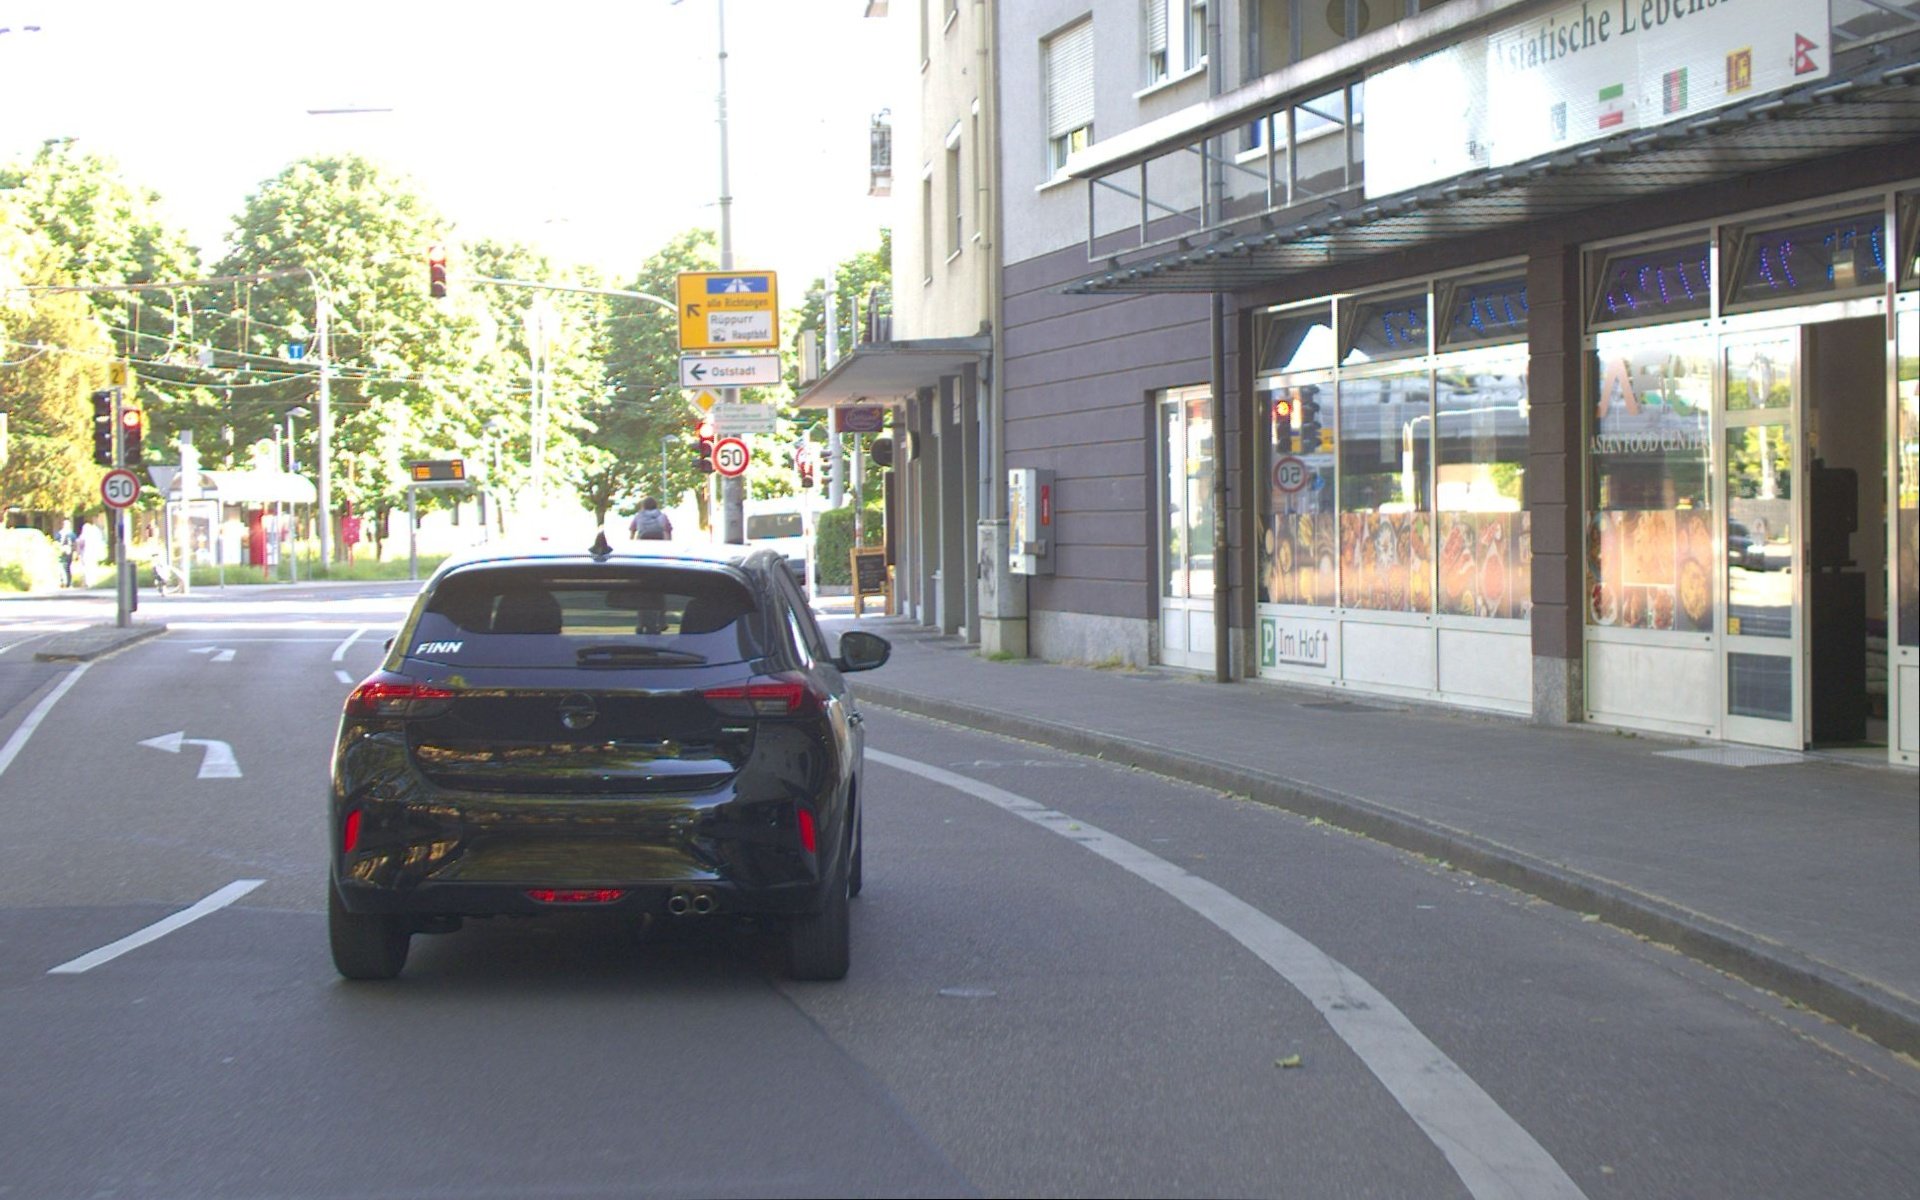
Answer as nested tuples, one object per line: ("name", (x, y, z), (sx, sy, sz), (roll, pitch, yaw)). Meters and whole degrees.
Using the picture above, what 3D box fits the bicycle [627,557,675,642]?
("bicycle", (-4.037, -0.014, 44.993), (0.508, 1.063, 1.564), (-1, 1, -1))

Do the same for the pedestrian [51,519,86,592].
("pedestrian", (-23.507, -1.172, 90.605), (0.658, 1.926, 0.608), (1, 1, 19))

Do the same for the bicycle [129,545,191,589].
("bicycle", (-18.426, -0.775, 79.254), (0.788, 0.988, 2.243), (0, 1, 4))

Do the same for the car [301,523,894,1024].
("car", (-1.194, 0.480, 12.369), (1.781, 1.491, 4.001), (0, 1, -3))

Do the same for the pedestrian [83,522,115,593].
("pedestrian", (-22.714, -1.120, 90.698), (0.616, 1.847, 0.583), (1, 1, 12))

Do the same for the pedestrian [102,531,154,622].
("pedestrian", (-12.627, -0.362, 52.163), (0.653, 1.359, 0.645), (-1, 1, -5))

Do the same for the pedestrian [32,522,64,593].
("pedestrian", (-23.751, -1.110, 89.537), (0.616, 1.847, 0.583), (1, 1, 12))

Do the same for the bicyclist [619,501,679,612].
("bicyclist", (-4.051, -0.570, 44.856), (0.706, 1.430, 0.702), (-1, 1, -1))

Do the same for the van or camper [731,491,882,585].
("van or camper", (-3.589, -1.456, 81.258), (2.170, 2.138, 4.502), (1, 1, 17))
